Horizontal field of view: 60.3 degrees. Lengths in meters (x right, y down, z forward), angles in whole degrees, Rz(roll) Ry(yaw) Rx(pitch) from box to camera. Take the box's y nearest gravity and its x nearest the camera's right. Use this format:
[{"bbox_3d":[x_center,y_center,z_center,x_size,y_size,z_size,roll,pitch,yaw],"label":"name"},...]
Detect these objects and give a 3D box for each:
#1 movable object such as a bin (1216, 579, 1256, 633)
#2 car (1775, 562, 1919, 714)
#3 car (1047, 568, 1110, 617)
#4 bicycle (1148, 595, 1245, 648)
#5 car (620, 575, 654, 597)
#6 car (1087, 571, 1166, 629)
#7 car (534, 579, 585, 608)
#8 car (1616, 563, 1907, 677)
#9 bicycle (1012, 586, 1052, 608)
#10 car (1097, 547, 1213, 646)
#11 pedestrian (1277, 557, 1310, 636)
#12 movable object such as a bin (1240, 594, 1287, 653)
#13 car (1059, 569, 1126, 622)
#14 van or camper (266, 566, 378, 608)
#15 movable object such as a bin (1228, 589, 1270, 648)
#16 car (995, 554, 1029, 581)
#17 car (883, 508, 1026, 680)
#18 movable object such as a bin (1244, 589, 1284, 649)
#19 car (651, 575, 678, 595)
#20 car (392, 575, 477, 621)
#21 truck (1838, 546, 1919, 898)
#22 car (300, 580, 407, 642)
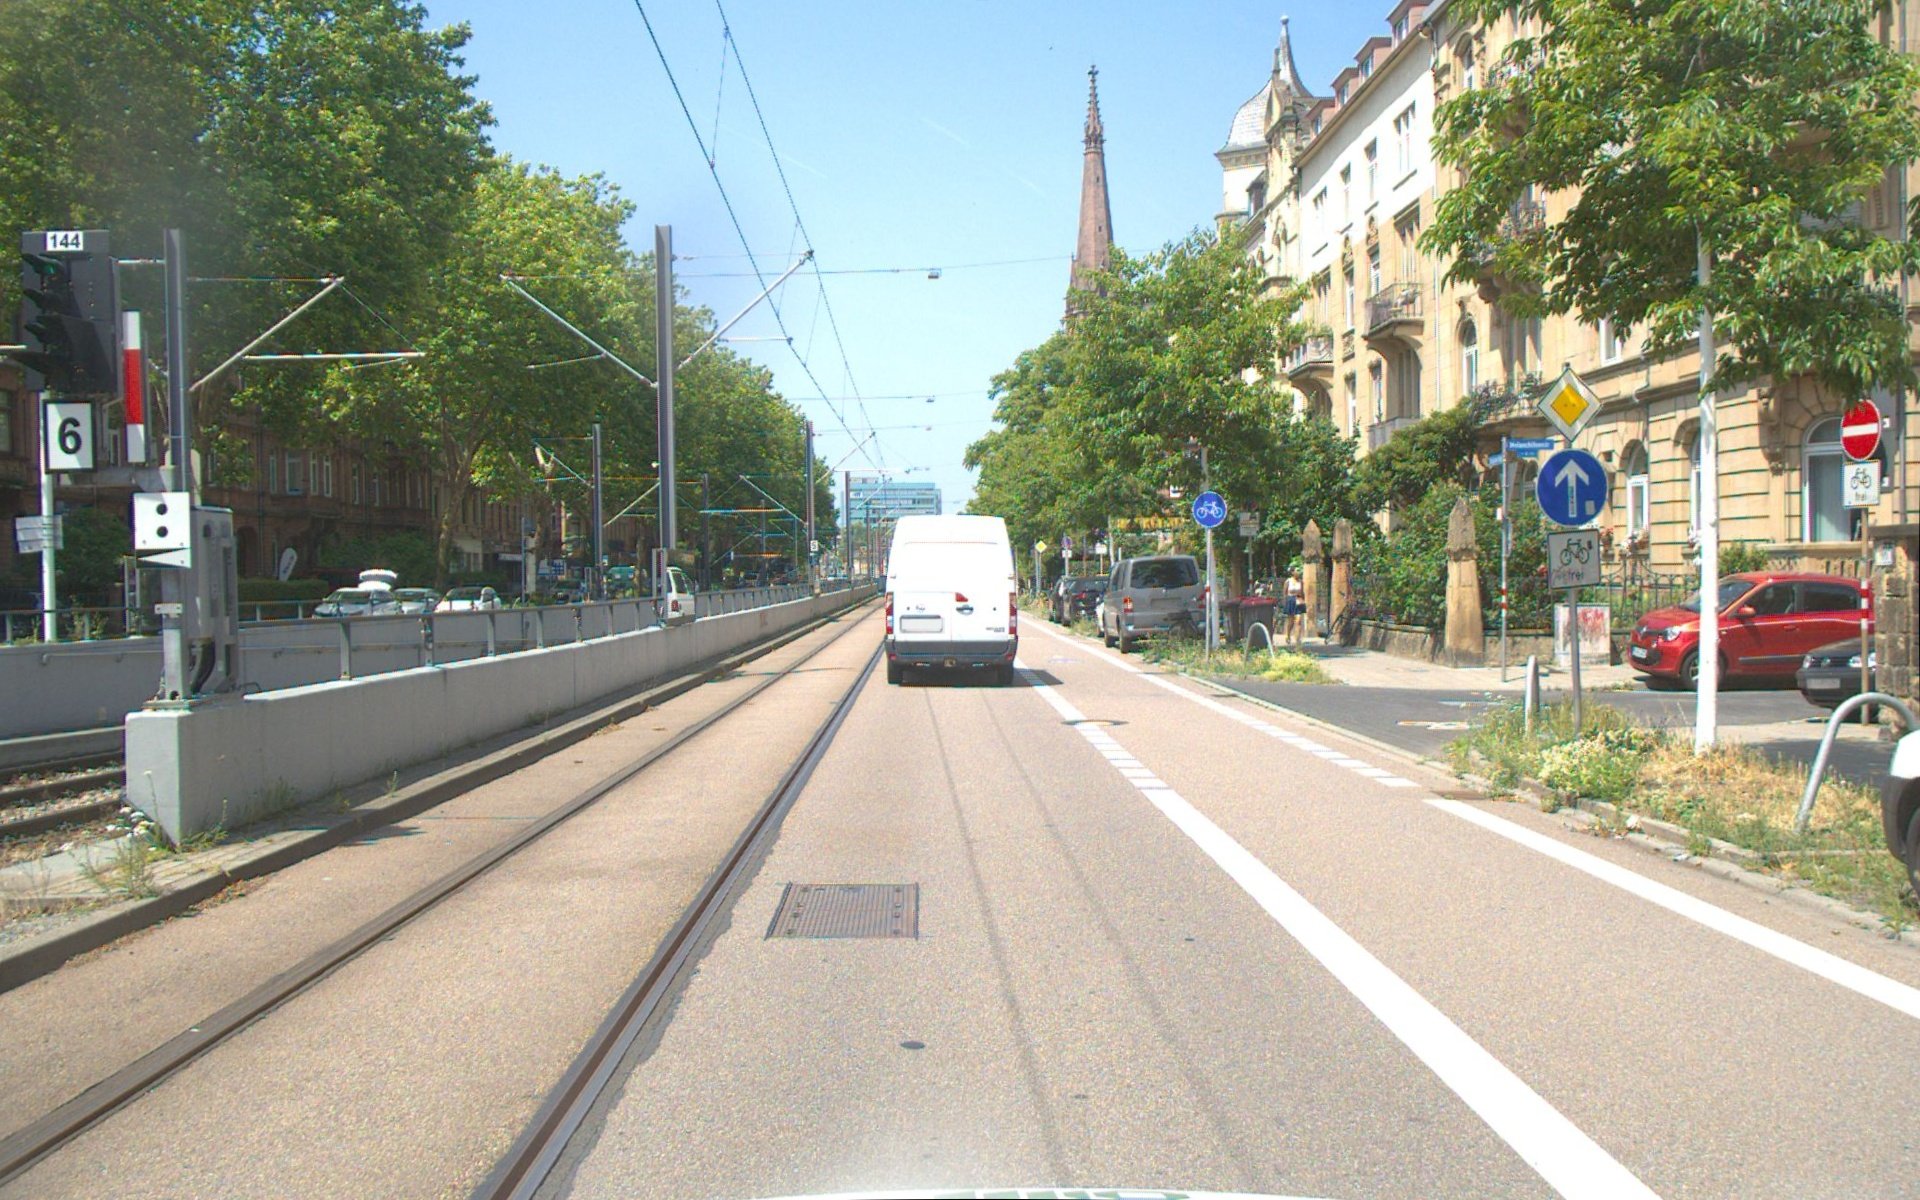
[{"bbox_3d":[5.304,0.112,31.784,0.585,1.028,0.564,-1,1,-11],"label":"movable object such as a bin"},{"bbox_3d":[11.144,0.371,17.608,4.098,1.517,1.672,-1,-3,-4],"label":"car"},{"bbox_3d":[3.979,-0.286,56.174,1.694,1.562,4.403,0,1,-2],"label":"car"},{"bbox_3d":[4.650,0.416,32.529,1.847,1.009,0.469,-1,1,-11],"label":"bicycle"},{"bbox_3d":[-21.730,-0.966,111.372,1.560,1.473,4.000,0,1,-1],"label":"car"},{"bbox_3d":[4.331,-0.031,43.518,1.578,1.430,3.999,-1,1,-1],"label":"car"},{"bbox_3d":[-21.054,-0.364,87.105,1.815,1.425,4.196,-1,1,-2],"label":"car"},{"bbox_3d":[11.361,0.266,23.587,3.381,1.517,1.555,-1,1,0],"label":"car"},{"bbox_3d":[3.315,-0.153,76.185,1.804,0.970,0.503,-1,1,0],"label":"bicycle"},{"bbox_3d":[4.230,-0.121,36.566,1.841,1.981,4.836,-2,1,-1],"label":"car"},{"bbox_3d":[6.955,-0.069,34.484,0.540,1.626,0.728,0,1,1],"label":"pedestrian"},{"bbox_3d":[5.456,0.412,29.762,0.771,1.031,0.650,-1,1,5],"label":"movable object such as a bin"},{"bbox_3d":[4.061,-0.173,51.145,1.633,1.557,4.012,-1,1,-1],"label":"car"},{"bbox_3d":[-29.618,-0.628,76.839,4.448,1.868,1.933,-1,1,4],"label":"van or camper"},{"bbox_3d":[5.422,0.340,31.016,0.730,1.080,0.496,0,1,5],"label":"movable object such as a bin"},{"bbox_3d":[3.301,-2.082,105.909,2.112,1.699,4.001,0,1,1],"label":"car"},{"bbox_3d":[-0.177,-0.131,26.794,2.074,2.502,5.052,-1,1,-2],"label":"car"},{"bbox_3d":[5.582,0.349,30.387,0.655,1.080,0.496,-1,1,5],"label":"movable object such as a bin"},{"bbox_3d":[-21.236,-1.092,118.932,1.345,1.448,3.088,-1,1,-1],"label":"car"},{"bbox_3d":[-19.090,-0.106,60.273,1.511,1.589,3.881,0,1,6],"label":"car"},{"bbox_3d":[5.183,0.559,5.739,1.754,1.552,4.463,-1,1,-3],"label":"truck"},{"bbox_3d":[-20.081,0.320,54.984,1.953,1.937,4.716,-1,1,-2],"label":"car"}]
